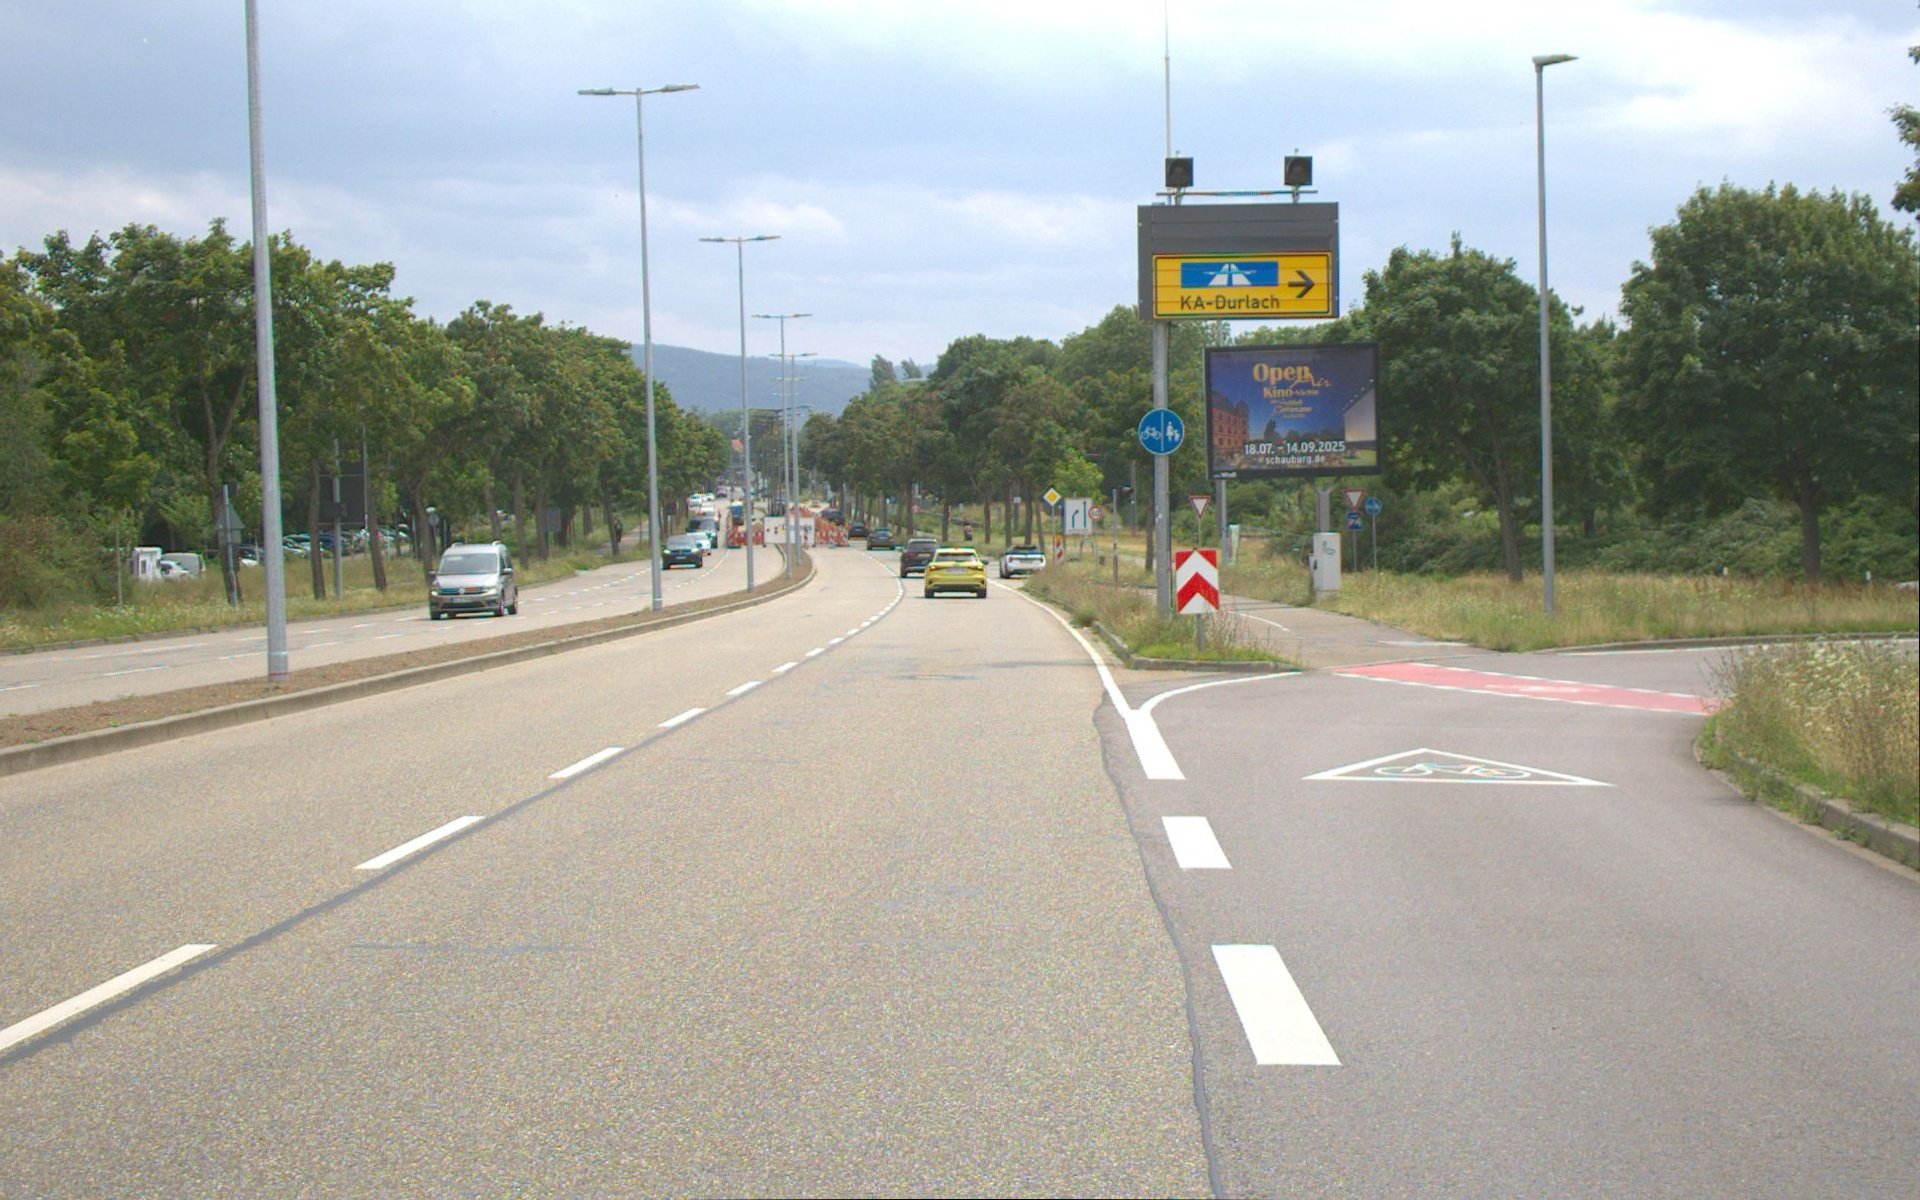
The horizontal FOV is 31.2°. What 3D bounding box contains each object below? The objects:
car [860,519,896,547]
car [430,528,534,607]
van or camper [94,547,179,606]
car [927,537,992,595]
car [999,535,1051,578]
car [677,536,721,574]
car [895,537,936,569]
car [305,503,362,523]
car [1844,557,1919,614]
[{"bbox_3d":[-5.286,-4.327,222.074,2.206,1.678,4.001,-1,2,0],"label":"car"},{"bbox_3d":[-11.739,-0.834,84.737,1.902,1.803,4.540,-1,2,0],"label":"car"},{"bbox_3d":[-38.442,-1.132,160.659,2.471,2.532,6.721,-1,2,-2],"label":"van or camper"},{"bbox_3d":[-0.039,-1.014,100.038,1.793,1.556,4.001,-1,2,-1],"label":"car"},{"bbox_3d":[2.718,-1.846,145.011,2.013,1.664,4.001,-1,2,-1],"label":"car"},{"bbox_3d":[-13.646,-2.353,179.883,1.993,1.805,4.798,-2,2,-1],"label":"car"},{"bbox_3d":[-1.901,-1.985,144.668,1.667,1.265,4.001,-1,2,-1],"label":"car"},{"bbox_3d":[-45.967,-6.388,252.380,3.772,1.421,1.966,-1,2,0],"label":"car"},{"bbox_3d":[26.000,-0.381,92.398,3.997,1.459,1.768,1,3,41],"label":"car"}]
